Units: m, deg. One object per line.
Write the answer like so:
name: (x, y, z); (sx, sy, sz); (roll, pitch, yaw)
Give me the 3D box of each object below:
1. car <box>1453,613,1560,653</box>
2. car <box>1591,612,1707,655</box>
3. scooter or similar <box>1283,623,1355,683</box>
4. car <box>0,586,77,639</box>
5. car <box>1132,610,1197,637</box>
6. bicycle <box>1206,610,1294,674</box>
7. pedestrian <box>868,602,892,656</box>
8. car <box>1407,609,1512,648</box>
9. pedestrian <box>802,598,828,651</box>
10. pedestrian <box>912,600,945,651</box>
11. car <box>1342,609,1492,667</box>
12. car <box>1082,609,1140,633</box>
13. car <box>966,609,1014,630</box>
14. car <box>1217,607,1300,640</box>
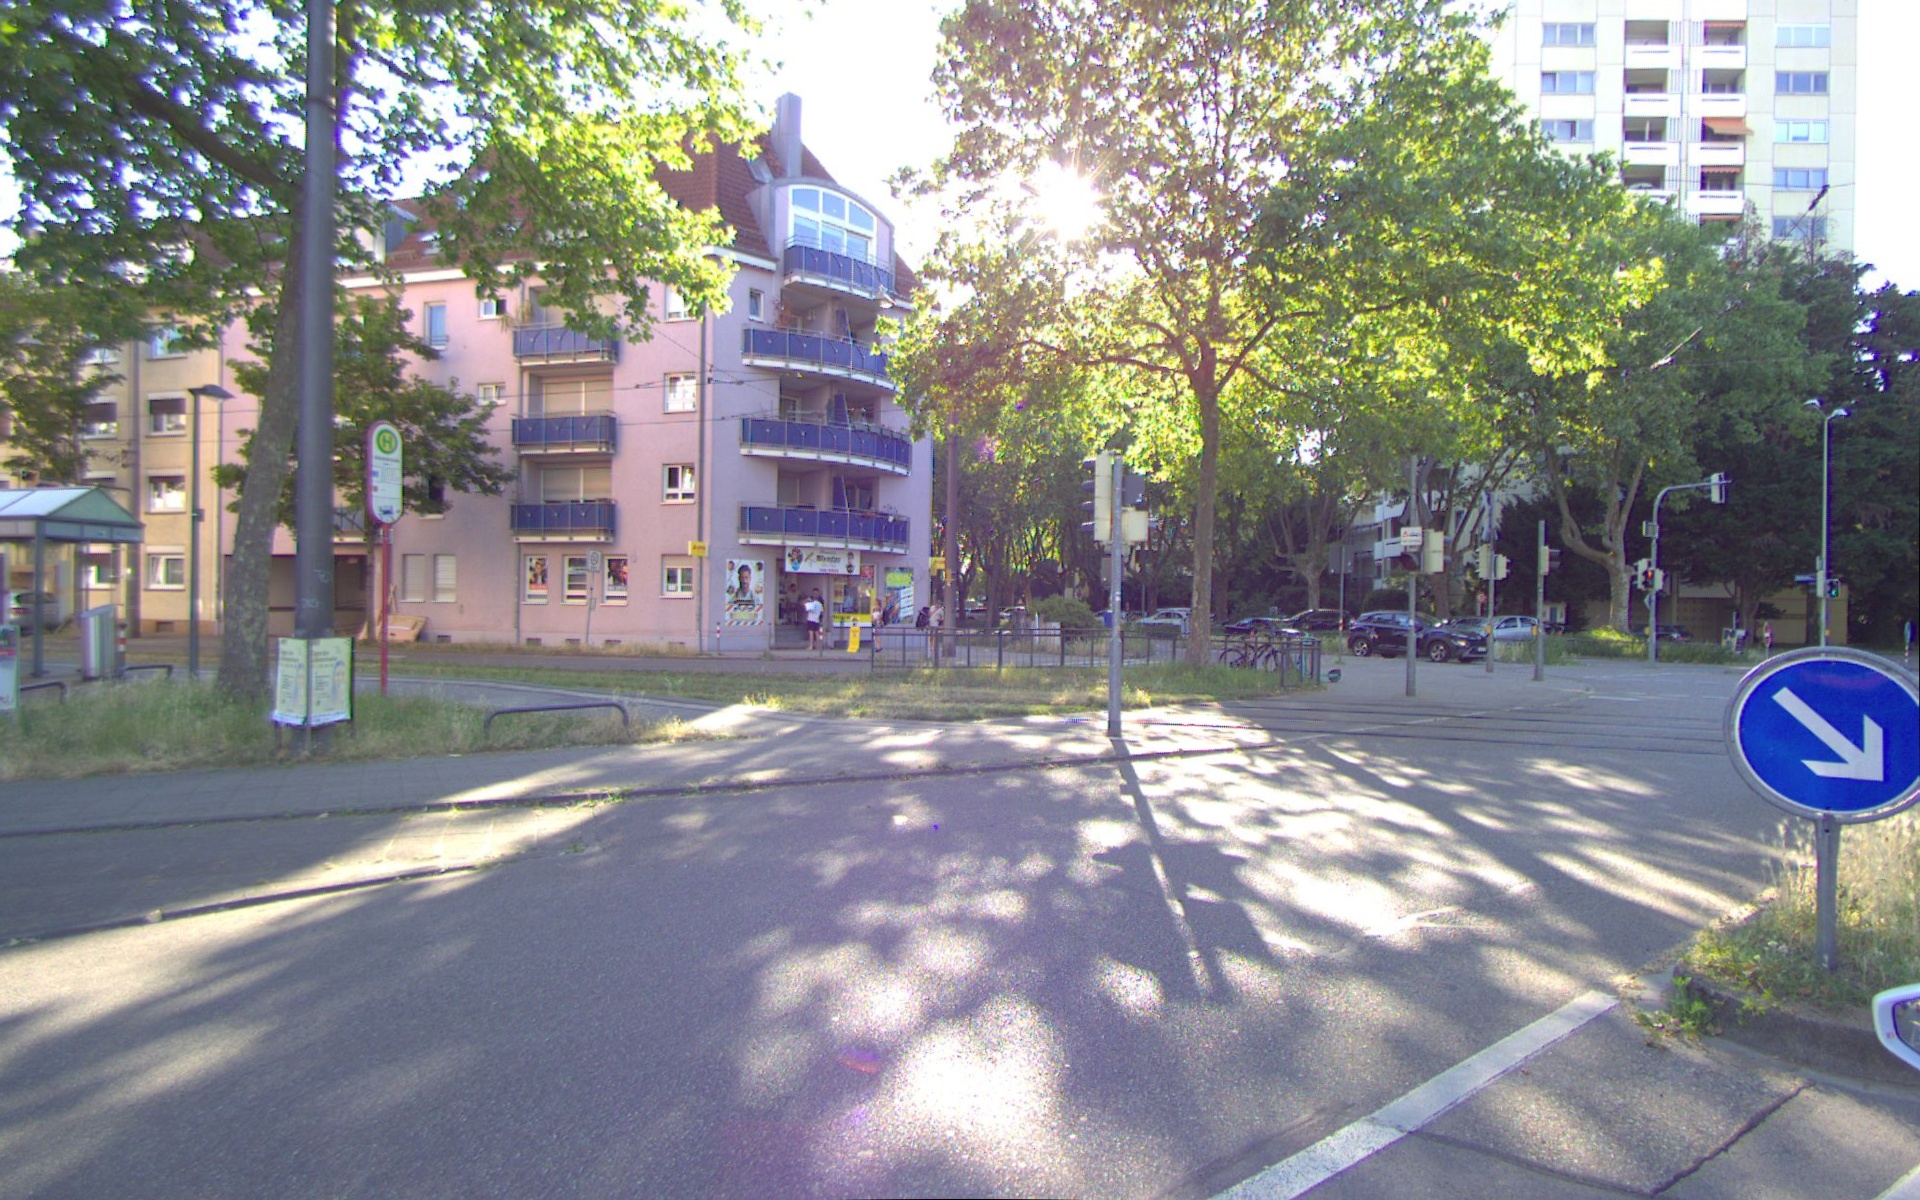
car: (23.878, 1.420, 43.981); (3.732, 1.617, 1.738); (2, 0, 0)
car: (31.614, 1.520, 46.201); (1.971, 1.798, 3.979); (2, 0, -22)
scooter or similar: (7.920, 1.171, 22.202); (1.412, 1.255, 0.414); (2, 0, 9)
car: (-33.481, 0.393, 35.215); (4.029, 1.728, 1.940); (2, 0, 16)
car: (13.399, 1.555, 65.981); (3.921, 1.617, 1.738); (2, 0, 0)
bicycle: (6.397, 0.914, 22.243); (1.811, 1.324, 0.382); (2, 0, 34)
pedestrian: (-2.536, 0.922, 31.800); (0.610, 1.689, 0.548); (2, 0, -21)
car: (22.838, 1.300, 46.031); (3.921, 1.617, 1.738); (2, 0, 0)
pedestrian: (-4.716, 0.795, 32.696); (0.610, 1.689, 0.549); (2, 0, 38)
pedestrian: (-1.074, 0.873, 34.144); (0.908, 1.689, 0.620); (2, 0, 19)
car: (14.261, 1.138, 31.516); (1.722, 1.617, 3.959); (2, 0, -36)
car: (11.080, 1.528, 73.896); (3.921, 1.617, 1.738); (2, 0, 0)
car: (2.604, 1.674, 86.364); (3.919, 1.617, 1.739); (2, 0, 9)
car: (15.910, 1.243, 53.680); (3.921, 1.617, 1.738); (2, 0, 0)
